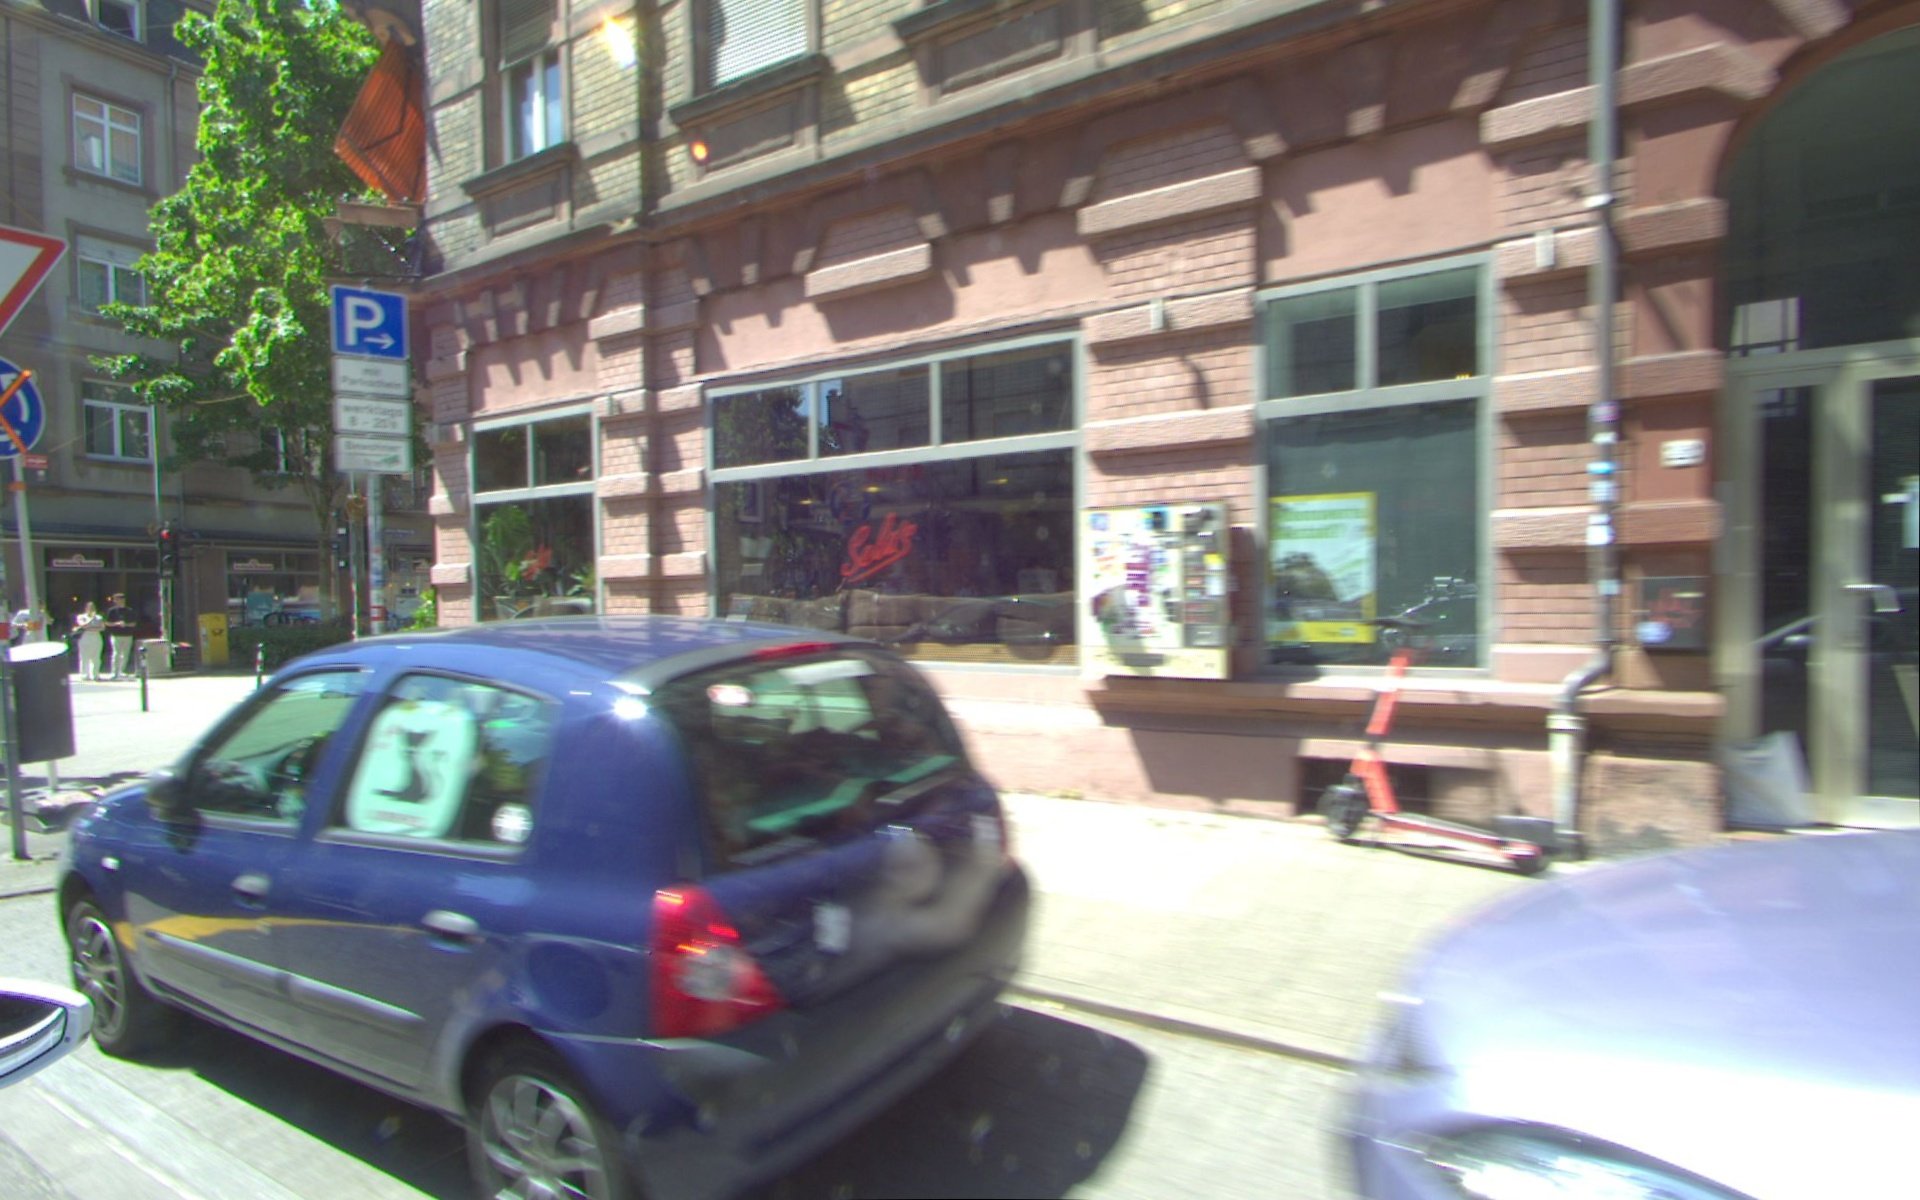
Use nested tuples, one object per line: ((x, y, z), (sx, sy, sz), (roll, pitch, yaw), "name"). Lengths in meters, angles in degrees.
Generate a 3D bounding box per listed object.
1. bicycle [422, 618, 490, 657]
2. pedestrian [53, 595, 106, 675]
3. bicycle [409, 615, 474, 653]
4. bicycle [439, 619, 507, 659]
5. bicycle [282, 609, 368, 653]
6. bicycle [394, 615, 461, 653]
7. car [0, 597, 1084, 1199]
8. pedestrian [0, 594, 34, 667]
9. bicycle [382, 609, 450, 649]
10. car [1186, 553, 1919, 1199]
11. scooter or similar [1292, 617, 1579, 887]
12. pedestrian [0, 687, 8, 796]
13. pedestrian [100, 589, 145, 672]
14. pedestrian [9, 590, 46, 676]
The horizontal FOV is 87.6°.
((-14.136, 1.024, 28.127), (0.463, 1.010, 1.758), (2, 2, 28), "bicycle")
((-19.016, 0.745, 21.626), (0.415, 1.669, 0.701), (3, 5, 24), "pedestrian")
((-14.630, 0.944, 28.307), (0.463, 1.019, 1.682), (2, 2, 28), "bicycle")
((-13.532, 1.073, 27.871), (0.463, 1.010, 1.758), (2, 2, 28), "bicycle")
((-17.700, 0.848, 27.944), (1.965, 1.147, 0.512), (-1, 1, -41), "bicycle")
((-15.316, 0.968, 28.837), (0.463, 1.010, 1.758), (2, 2, 28), "bicycle")
((-1.564, 0.752, 3.427), (3.606, 1.451, 1.624), (-1, 1, 31), "car")
((-21.661, 0.683, 22.812), (0.796, 1.645, 0.637), (-1, 1, -44), "pedestrian")
((-15.718, 0.815, 28.981), (0.463, 1.095, 1.758), (2, 2, 28), "bicycle")
((2.613, 0.650, 0.852), (4.419, 1.451, 1.722), (-1, 1, 31), "car")
((2.316, 0.683, 4.972), (1.257, 1.193, 0.291), (0, 1, 42), "scooter or similar")
((-7.747, 0.747, 7.695), (0.431, 1.564, 0.490), (0, 3, 38), "pedestrian")
((-18.718, 0.667, 22.378), (0.463, 1.794, 0.575), (3, 5, 24), "pedestrian")
((-19.439, 0.681, 20.881), (0.473, 1.755, 0.865), (-1, 0, -38), "pedestrian")
